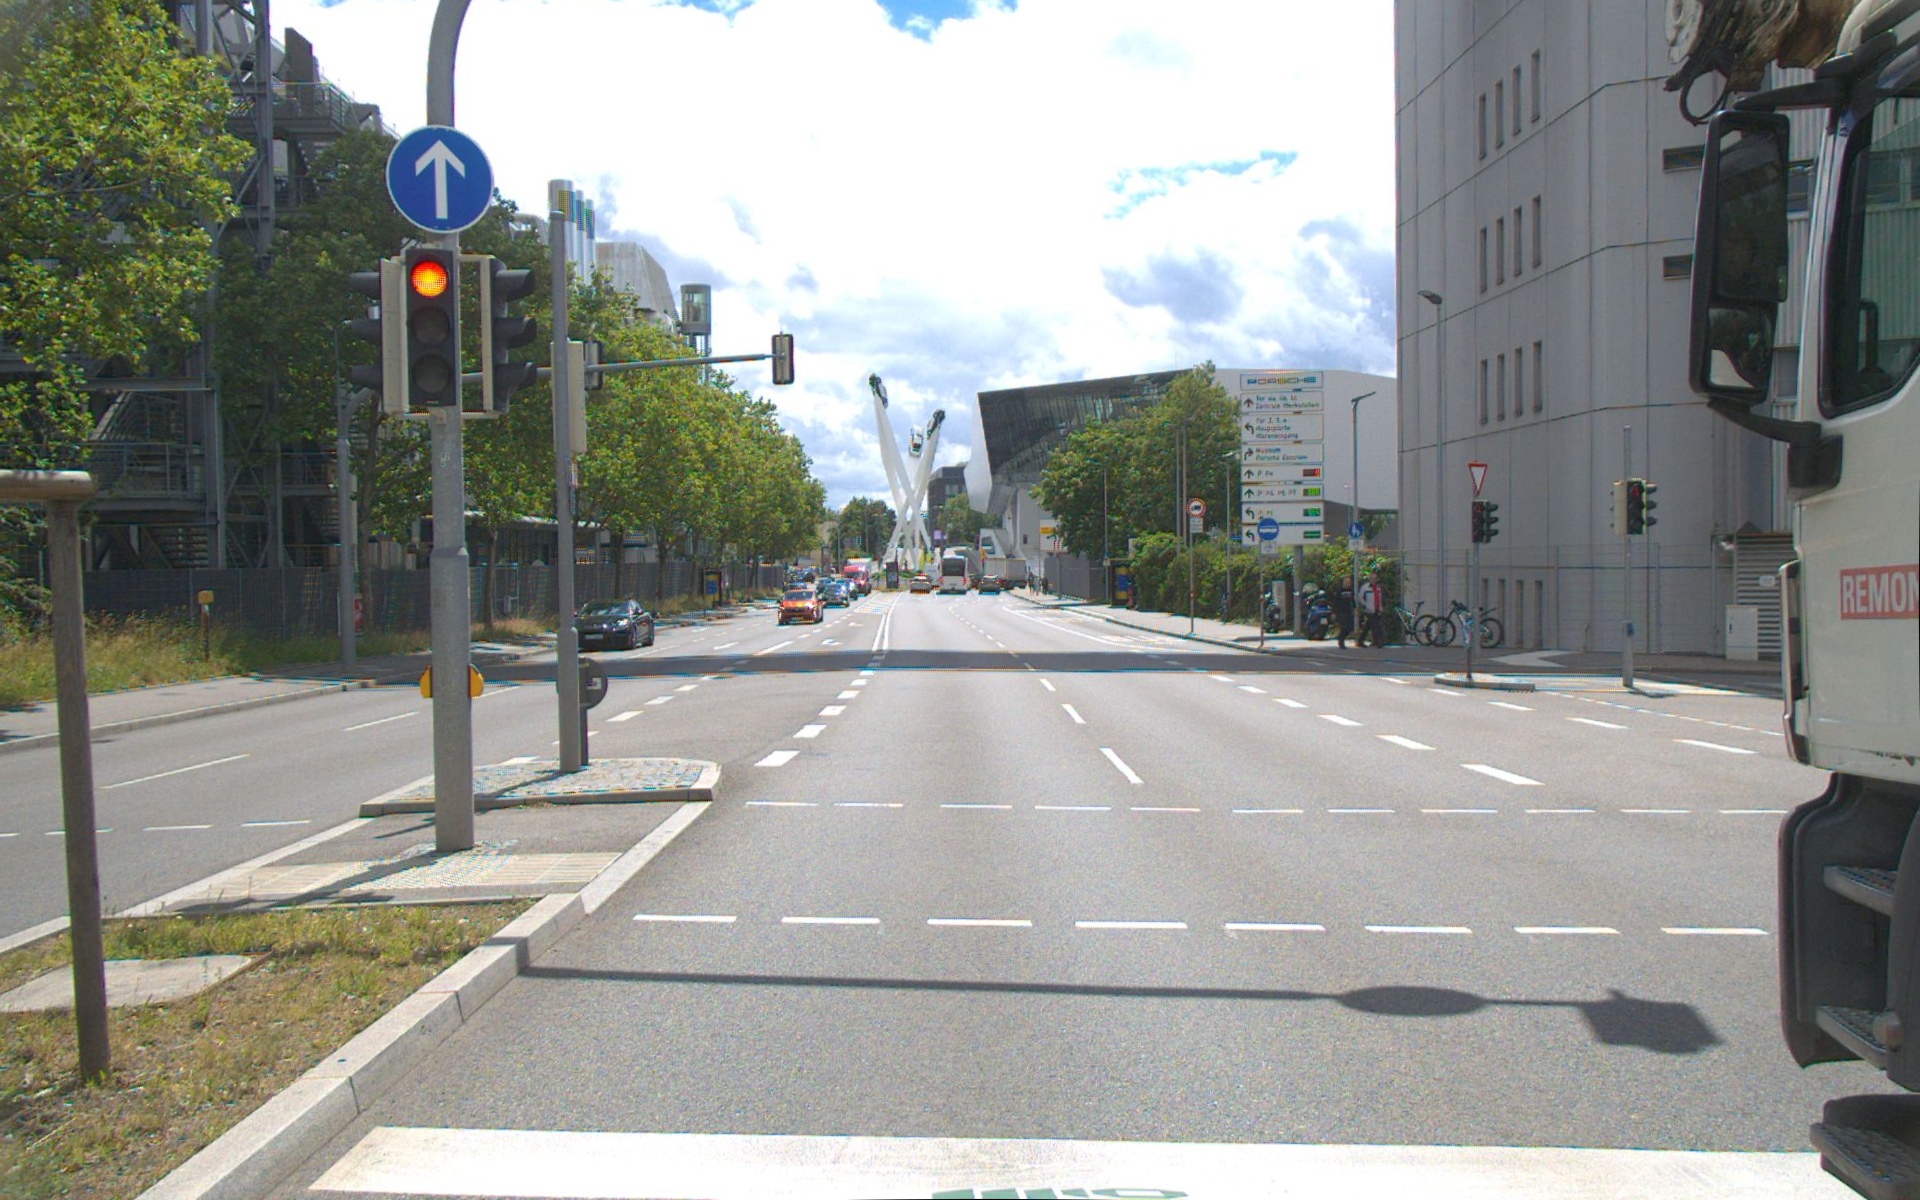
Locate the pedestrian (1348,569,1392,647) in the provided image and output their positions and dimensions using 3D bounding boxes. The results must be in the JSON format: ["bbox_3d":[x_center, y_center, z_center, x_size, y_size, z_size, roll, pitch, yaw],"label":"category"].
[{"bbox_3d":[9.794,0.185,39.538,0.680,1.825,0.709,-3,1,-16],"label":"pedestrian"}]

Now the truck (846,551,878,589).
[{"bbox_3d":[-9.136,-2.779,154.617,2.538,3.382,7.078,1,0,0],"label":"truck"}]

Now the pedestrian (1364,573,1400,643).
[{"bbox_3d":[10.272,0.194,40.266,0.526,1.669,0.653,1,-1,-25],"label":"pedestrian"}]

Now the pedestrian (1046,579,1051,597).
[{"bbox_3d":[7.338,-1.007,137.073,0.378,1.446,0.423,1,-1,0],"label":"pedestrian"}]

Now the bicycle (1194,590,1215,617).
[{"bbox_3d":[9.667,0.152,65.408,0.410,1.040,1.910,1,0,-5],"label":"bicycle"}]

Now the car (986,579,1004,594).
[{"bbox_3d":[3.110,-1.184,146.260,1.525,1.295,3.701,-2,0,1],"label":"car"}]

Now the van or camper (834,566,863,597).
[{"bbox_3d":[-9.333,-1.570,138.472,2.005,2.509,5.594,0,0,0],"label":"van or camper"}]

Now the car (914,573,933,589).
[{"bbox_3d":[-3.230,-1.709,148.682,1.525,1.295,3.701,-2,0,1],"label":"car"}]

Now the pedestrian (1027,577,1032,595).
[{"bbox_3d":[5.779,-1.150,137.976,0.378,1.446,0.423,1,-1,0],"label":"pedestrian"}]

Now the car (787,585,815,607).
[{"bbox_3d":[-11.517,-0.309,119.754,1.761,1.601,3.998,0,0,-2],"label":"car"}]

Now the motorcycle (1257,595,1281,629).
[{"bbox_3d":[9.738,0.367,52.149,0.448,1.040,1.913,1,0,1],"label":"motorcycle"}]

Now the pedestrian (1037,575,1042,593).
[{"bbox_3d":[6.593,-1.315,136.759,0.378,1.446,0.423,1,-1,0],"label":"pedestrian"}]

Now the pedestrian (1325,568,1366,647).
[{"bbox_3d":[9.174,0.169,39.374,0.631,1.825,0.709,-3,1,-16],"label":"pedestrian"}]

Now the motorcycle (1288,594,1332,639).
[{"bbox_3d":[9.546,0.449,45.161,0.410,1.186,1.951,1,0,-11],"label":"motorcycle"}]

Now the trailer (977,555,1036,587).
[{"bbox_3d":[4.887,-3.003,172.202,3.250,3.047,10.380,1,0,18],"label":"trailer"}]

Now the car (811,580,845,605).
[{"bbox_3d":[-8.078,-0.482,101.335,1.733,1.445,3.701,-2,0,0],"label":"car"}]

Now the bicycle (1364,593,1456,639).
[{"bbox_3d":[11.151,0.383,41.032,2.180,1.105,0.475,1,-1,35],"label":"bicycle"}]

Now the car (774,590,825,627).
[{"bbox_3d":[-6.755,0.327,70.001,1.733,1.445,3.701,-2,0,0],"label":"car"}]

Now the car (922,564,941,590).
[{"bbox_3d":[-2.948,-2.369,171.157,1.806,2.669,3.998,1,0,-2],"label":"car"}]

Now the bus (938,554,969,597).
[{"bbox_3d":[-0.582,-2.160,148.923,2.730,3.750,6.942,1,0,0],"label":"bus"}]

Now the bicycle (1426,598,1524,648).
[{"bbox_3d":[12.045,0.528,38.701,2.149,1.105,0.475,1,-1,35],"label":"bicycle"}]

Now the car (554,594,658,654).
[{"bbox_3d":[-9.970,0.647,46.960,1.878,1.514,4.772,-2,0,0],"label":"car"}]

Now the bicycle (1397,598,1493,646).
[{"bbox_3d":[11.637,0.526,39.707,2.180,1.105,0.475,1,-1,35],"label":"bicycle"}]

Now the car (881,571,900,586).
[{"bbox_3d":[-6.514,-1.994,155.440,1.525,1.295,3.701,-2,0,0],"label":"car"}]
